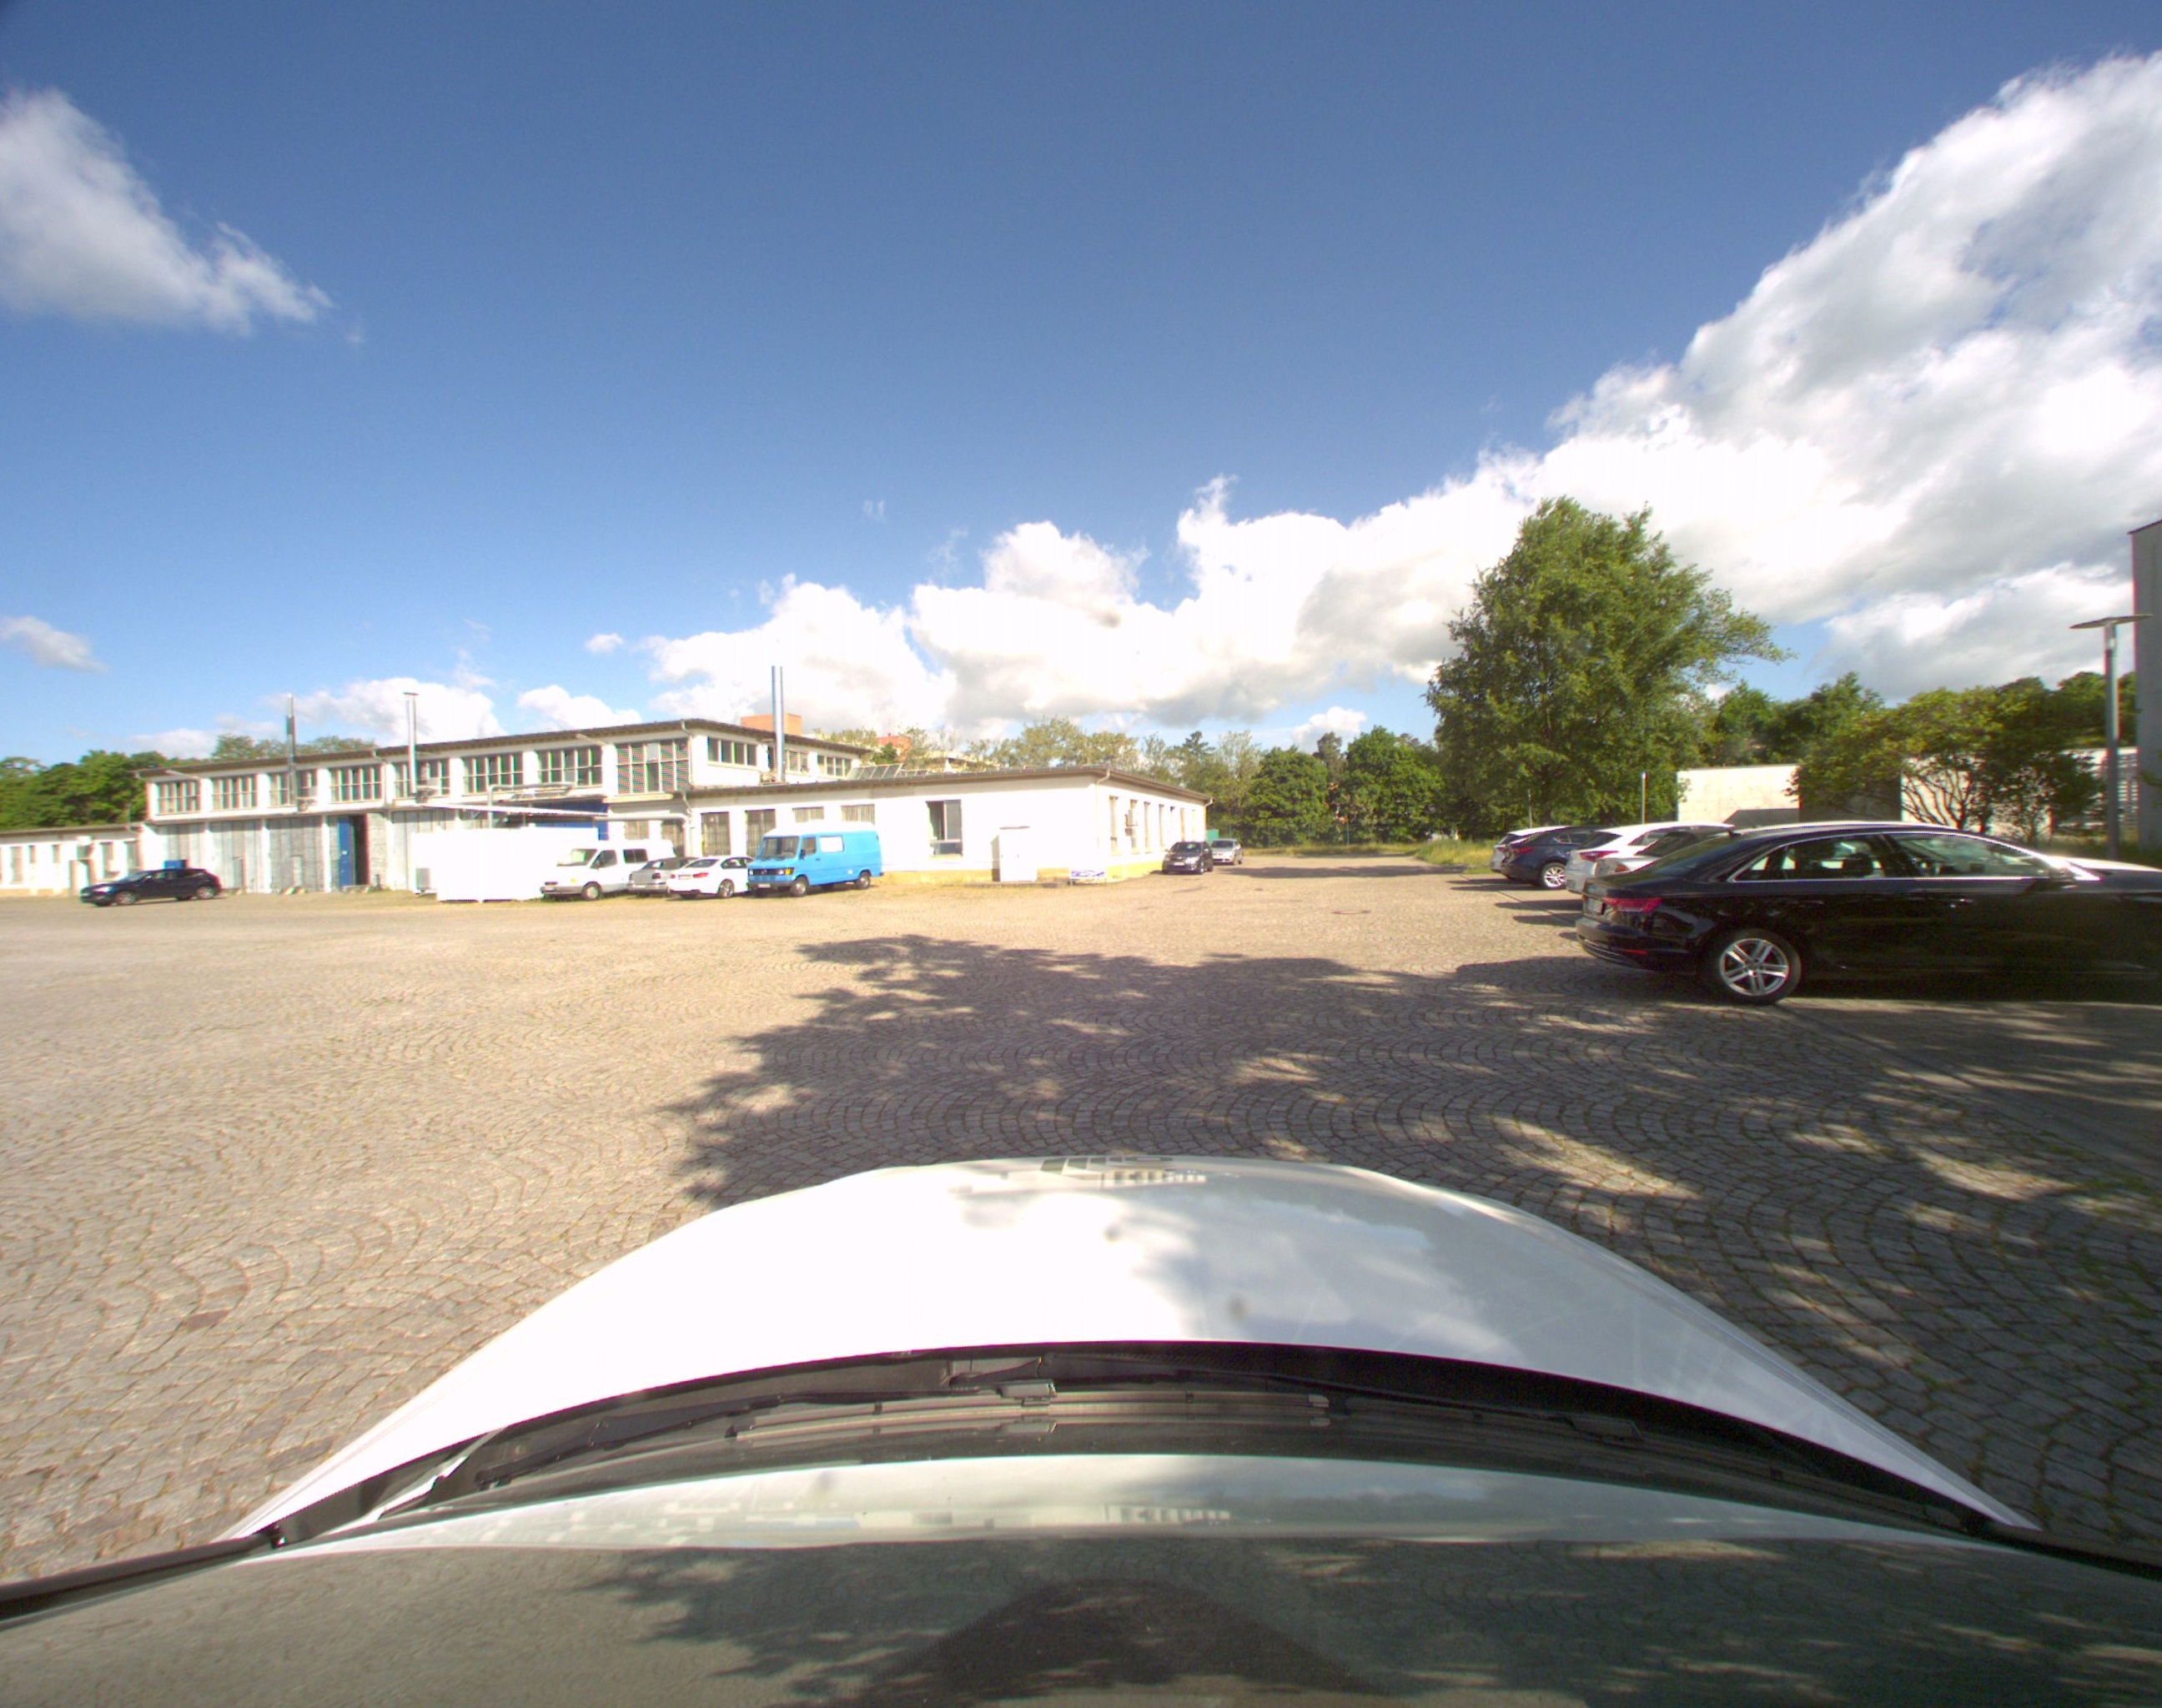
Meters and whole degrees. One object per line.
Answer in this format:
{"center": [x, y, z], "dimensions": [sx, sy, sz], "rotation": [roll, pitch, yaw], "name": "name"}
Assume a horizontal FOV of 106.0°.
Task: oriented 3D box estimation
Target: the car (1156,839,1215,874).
{"center": [4.678, 0.087, 35.997], "dimensions": [1.749, 1.435, 4.012], "rotation": [-1, 1, 19], "name": "car"}

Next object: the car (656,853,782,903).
{"center": [-12.354, 0.785, 28.021], "dimensions": [1.717, 1.405, 3.759], "rotation": [-2, 2, 21], "name": "car"}

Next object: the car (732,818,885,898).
{"center": [-9.285, 0.086, 28.331], "dimensions": [2.065, 2.483, 5.267], "rotation": [-2, 1, 22], "name": "car"}

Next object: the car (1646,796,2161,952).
{"center": [9.093, 0.253, 9.237], "dimensions": [4.101, 1.460, 1.701], "rotation": [-3, 0, 23], "name": "car"}

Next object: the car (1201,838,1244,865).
{"center": [7.955, -0.167, 45.590], "dimensions": [1.673, 1.435, 4.007], "rotation": [-1, 1, 19], "name": "car"}

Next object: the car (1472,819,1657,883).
{"center": [12.694, -0.075, 21.662], "dimensions": [3.880, 1.435, 1.805], "rotation": [-3, 0, 19], "name": "car"}

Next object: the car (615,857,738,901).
{"center": [-14.679, 0.862, 29.802], "dimensions": [1.672, 1.398, 3.852], "rotation": [-1, 1, 21], "name": "car"}

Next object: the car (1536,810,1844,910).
{"center": [10.314, 0.116, 14.162], "dimensions": [3.880, 1.446, 1.764], "rotation": [-3, 0, 19], "name": "car"}

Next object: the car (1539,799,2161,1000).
{"center": [6.856, 0.387, 7.086], "dimensions": [4.681, 1.423, 1.765], "rotation": [-3, 0, 17], "name": "car"}

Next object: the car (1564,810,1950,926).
{"center": [9.401, 0.210, 11.741], "dimensions": [3.880, 1.372, 1.737], "rotation": [-3, 0, 19], "name": "car"}

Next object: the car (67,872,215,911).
{"center": [-43.754, 1.731, 38.038], "dimensions": [1.721, 1.469, 4.095], "rotation": [-2, 1, 17], "name": "car"}

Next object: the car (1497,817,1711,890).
{"center": [12.058, -0.008, 19.061], "dimensions": [3.880, 1.417, 1.701], "rotation": [-3, 0, 19], "name": "car"}

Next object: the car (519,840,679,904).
{"center": [-17.647, 0.593, 30.122], "dimensions": [1.986, 2.081, 4.831], "rotation": [-2, 1, 22], "name": "car"}
